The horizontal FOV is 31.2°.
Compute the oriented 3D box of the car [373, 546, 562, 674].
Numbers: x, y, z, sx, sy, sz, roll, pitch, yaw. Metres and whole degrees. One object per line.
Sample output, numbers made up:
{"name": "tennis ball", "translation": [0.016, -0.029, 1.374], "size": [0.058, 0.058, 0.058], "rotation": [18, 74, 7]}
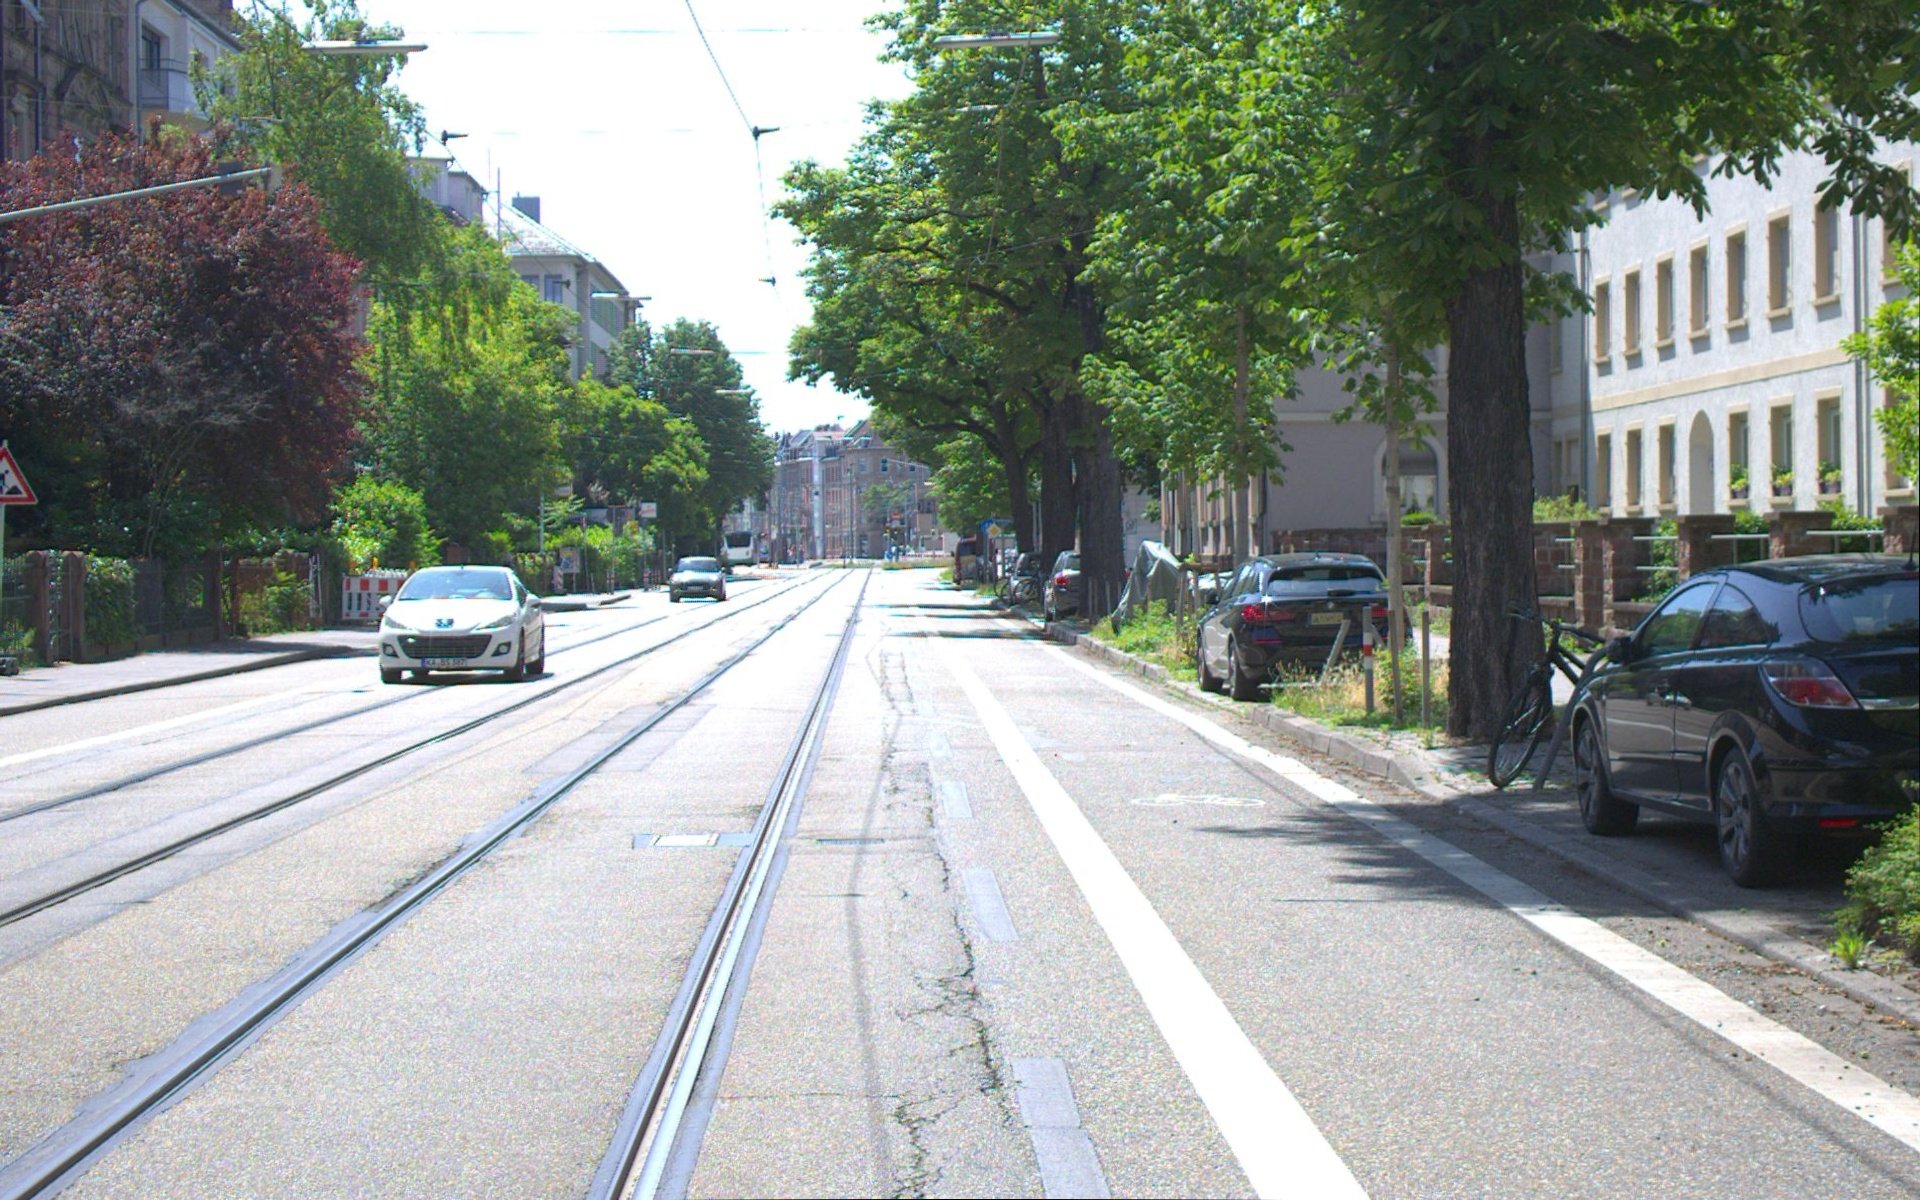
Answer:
{"name": "car", "translation": [-6.025, 0.090, 42.421], "size": [1.756, 1.419, 4.000], "rotation": [-2, 1, -1]}

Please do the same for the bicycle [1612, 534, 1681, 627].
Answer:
{"name": "bicycle", "translation": [8.530, -0.259, 42.752], "size": [0.499, 1.098, 1.807], "rotation": [-2, 1, 1]}

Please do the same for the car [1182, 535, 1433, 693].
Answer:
{"name": "car", "translation": [3.506, 0.090, 35.569], "size": [1.769, 1.422, 4.863], "rotation": [-2, 2, -4]}

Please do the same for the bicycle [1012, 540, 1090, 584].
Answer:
{"name": "bicycle", "translation": [2.289, -0.949, 86.535], "size": [1.890, 1.048, 0.538], "rotation": [-2, 1, 6]}

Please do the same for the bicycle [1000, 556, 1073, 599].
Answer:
{"name": "bicycle", "translation": [2.129, -0.627, 95.573], "size": [1.963, 1.109, 0.598], "rotation": [-3, 0, 1]}

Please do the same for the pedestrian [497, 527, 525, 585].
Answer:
{"name": "pedestrian", "translation": [-12.830, -1.264, 98.258], "size": [0.750, 1.623, 0.833], "rotation": [-1, 1, -7]}

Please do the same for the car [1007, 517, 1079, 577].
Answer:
{"name": "car", "translation": [2.172, -1.394, 91.212], "size": [1.621, 1.443, 3.810], "rotation": [-4, 1, -1]}

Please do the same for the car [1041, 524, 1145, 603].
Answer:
{"name": "car", "translation": [2.772, -0.791, 72.499], "size": [1.774, 1.496, 4.306], "rotation": [-3, 2, -2]}

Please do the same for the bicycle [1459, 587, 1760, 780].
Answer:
{"name": "bicycle", "translation": [3.916, 0.495, 20.776], "size": [1.652, 1.074, 0.606], "rotation": [-2, 1, -8]}

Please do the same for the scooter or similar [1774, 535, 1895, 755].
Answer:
{"name": "scooter or similar", "translation": [5.422, 0.266, 21.278], "size": [0.379, 1.208, 1.246], "rotation": [-1, 6, 29]}

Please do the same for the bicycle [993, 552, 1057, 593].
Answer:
{"name": "bicycle", "translation": [1.909, -0.813, 100.695], "size": [1.816, 1.109, 0.493], "rotation": [-3, 0, -2]}

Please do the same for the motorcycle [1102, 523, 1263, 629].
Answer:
{"name": "motorcycle", "translation": [3.294, -0.359, 51.037], "size": [2.318, 1.535, 0.867], "rotation": [0, 2, 42]}

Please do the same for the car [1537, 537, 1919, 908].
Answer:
{"name": "car", "translation": [4.082, 0.458, 16.199], "size": [1.694, 1.414, 4.358], "rotation": [-2, 2, -4]}

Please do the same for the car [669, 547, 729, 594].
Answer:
{"name": "car", "translation": [-8.440, -0.967, 111.345], "size": [1.686, 1.449, 3.749], "rotation": [-1, 1, -1]}

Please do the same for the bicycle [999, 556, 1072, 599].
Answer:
{"name": "bicycle", "translation": [2.114, -0.639, 96.238], "size": [2.010, 1.109, 0.640], "rotation": [-3, 0, 1]}

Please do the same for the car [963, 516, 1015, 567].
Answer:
{"name": "car", "translation": [1.202, -2.507, 145.614], "size": [1.993, 2.028, 4.697], "rotation": [-2, 2, -1]}

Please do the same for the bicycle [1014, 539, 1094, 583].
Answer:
{"name": "bicycle", "translation": [2.383, -0.980, 86.863], "size": [1.963, 1.059, 0.598], "rotation": [-2, 1, 6]}
